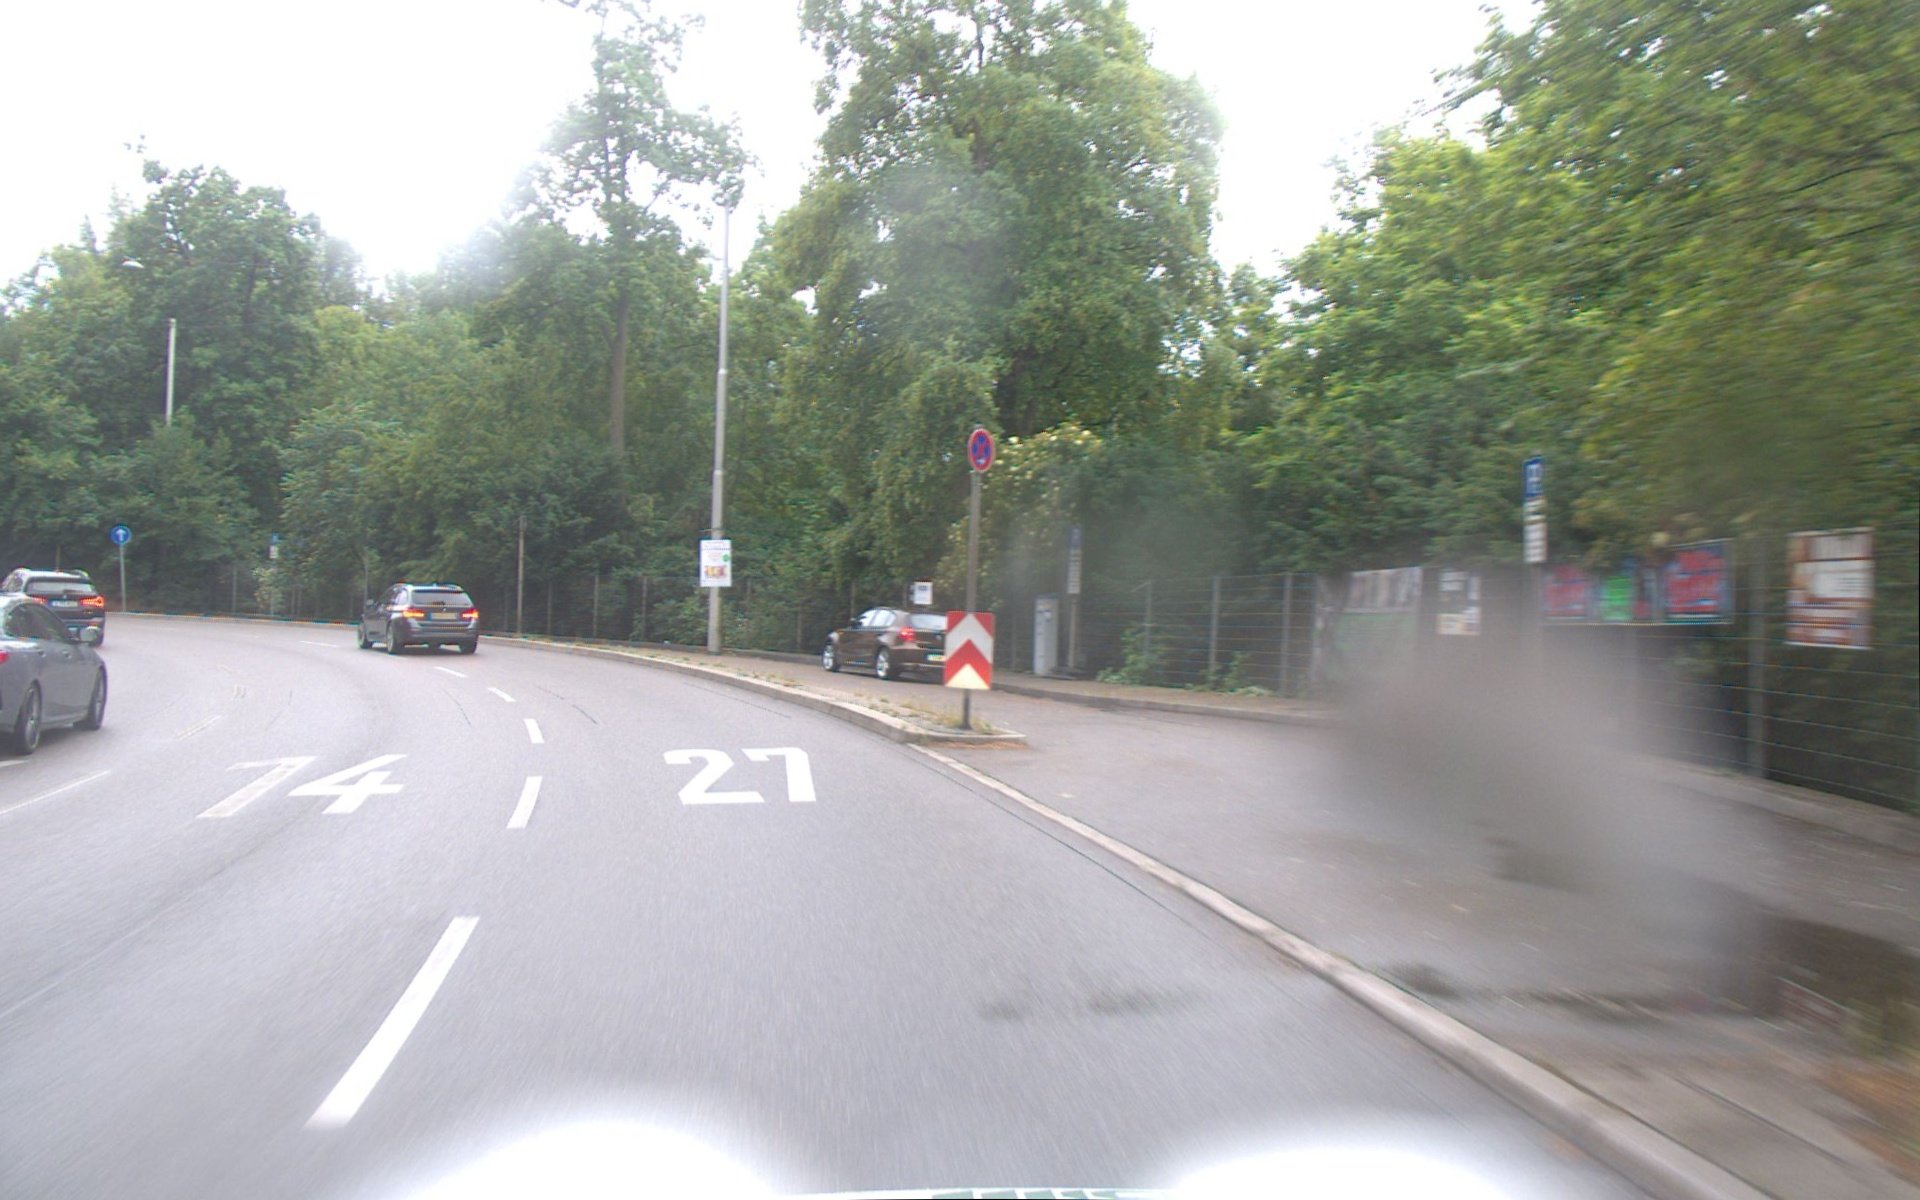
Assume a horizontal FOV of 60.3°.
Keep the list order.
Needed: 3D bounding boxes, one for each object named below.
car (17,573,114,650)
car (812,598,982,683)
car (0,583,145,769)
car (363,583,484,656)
[{"bbox_3d":[-20.062,0.212,37.016,1.740,1.613,4.366,0,1,-31],"label":"car"},{"bbox_3d":[-1.363,0.787,33.847,1.668,1.451,4.330,5,-1,-28],"label":"car"},{"bbox_3d":[-9.351,0.617,15.963,1.637,1.439,4.524,2,1,-13],"label":"car"},{"bbox_3d":[-11.754,0.451,36.067,1.738,1.457,4.370,-1,-1,-29],"label":"car"}]
